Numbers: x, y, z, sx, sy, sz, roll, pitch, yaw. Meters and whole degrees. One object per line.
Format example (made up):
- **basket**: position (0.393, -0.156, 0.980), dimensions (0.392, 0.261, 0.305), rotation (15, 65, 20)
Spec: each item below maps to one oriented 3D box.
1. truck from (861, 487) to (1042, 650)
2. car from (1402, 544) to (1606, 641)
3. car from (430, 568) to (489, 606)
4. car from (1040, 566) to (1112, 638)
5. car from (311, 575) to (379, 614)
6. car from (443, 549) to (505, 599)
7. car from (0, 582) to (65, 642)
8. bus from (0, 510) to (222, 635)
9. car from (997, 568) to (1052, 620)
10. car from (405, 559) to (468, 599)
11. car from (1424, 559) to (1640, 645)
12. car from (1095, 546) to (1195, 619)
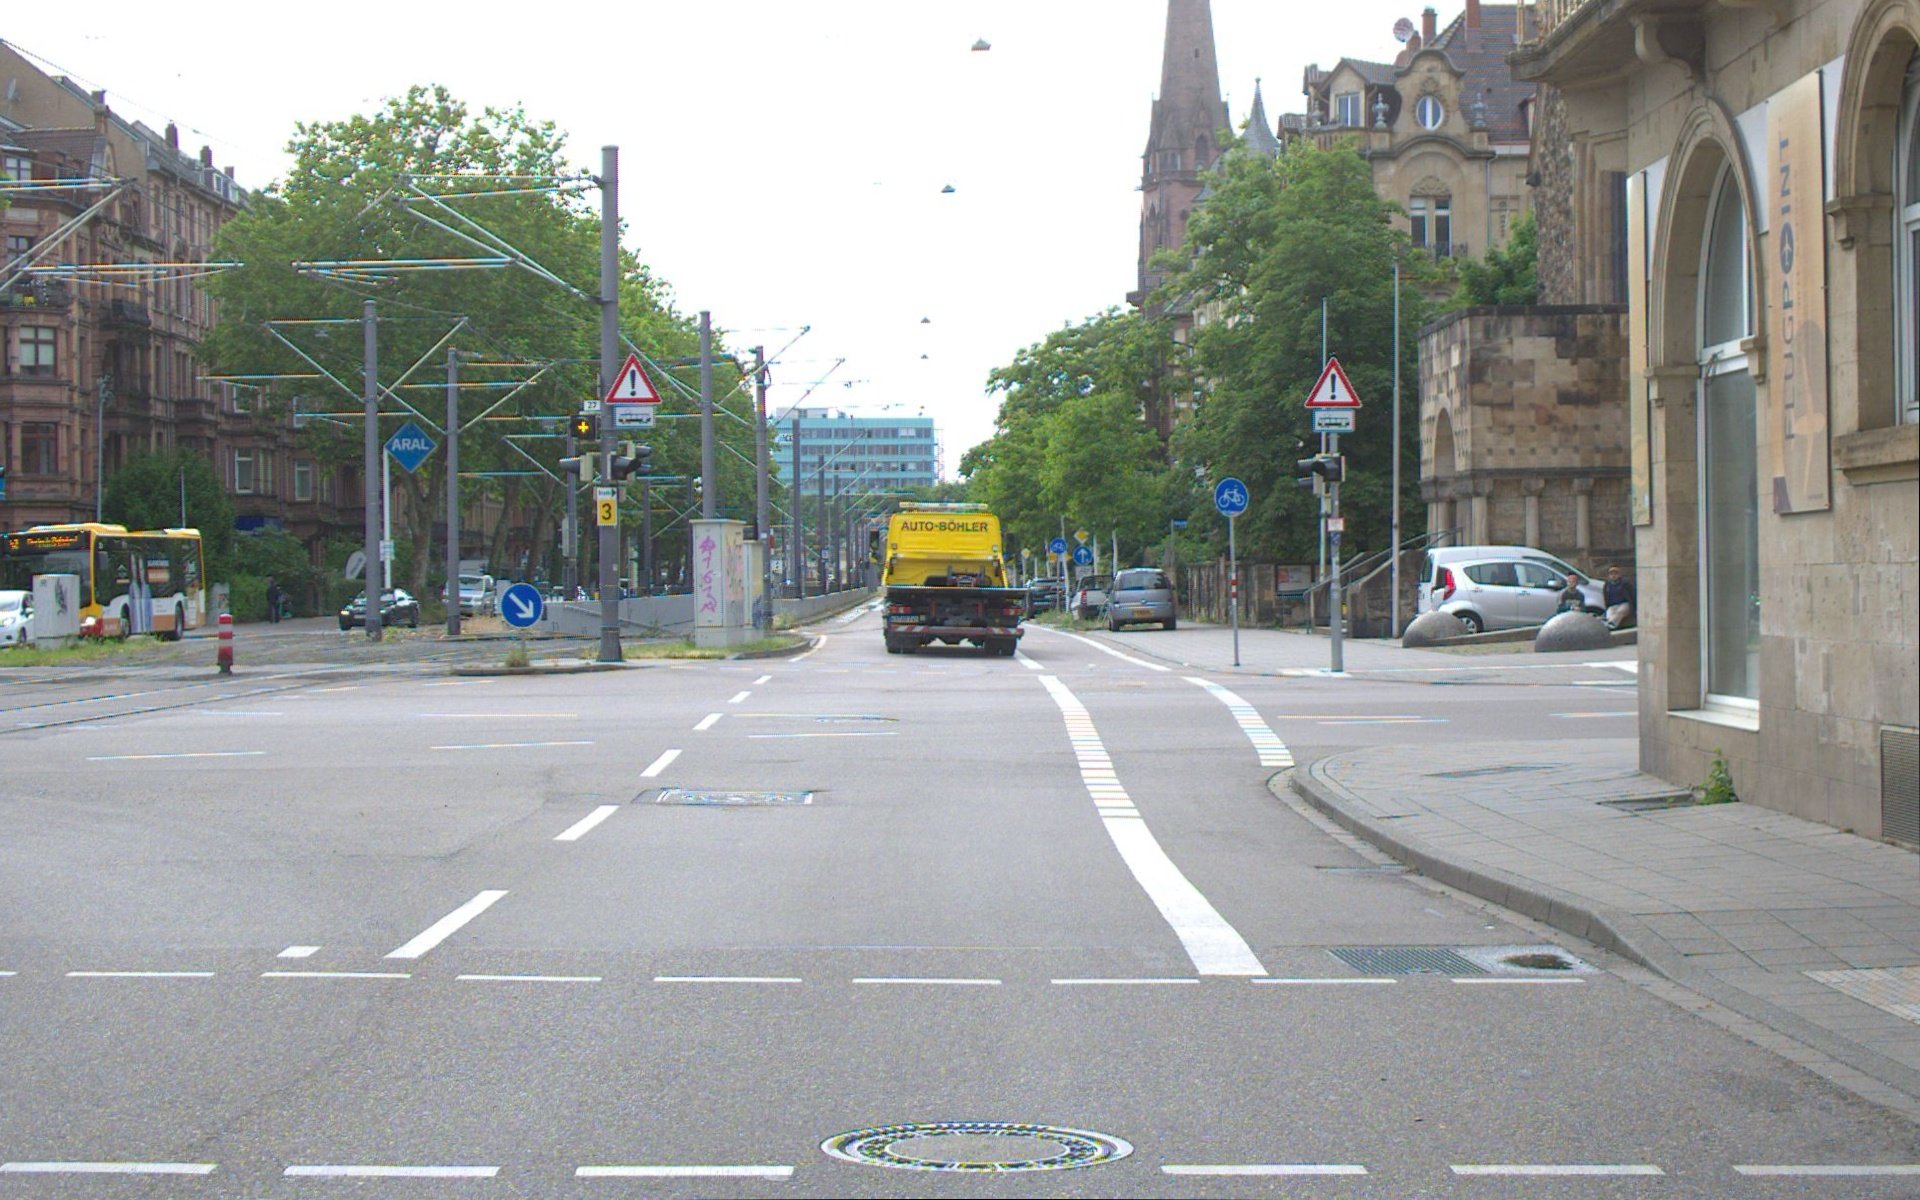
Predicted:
- **truck**: position (-0.281, -0.595, 63.847), dimensions (3.055, 2.760, 9.816), rotation (0, 1, -2)
- **car**: position (10.794, -0.153, 68.404), dimensions (3.713, 1.849, 2.000), rotation (1, 0, 0)
- **car**: position (-21.738, -0.561, 149.351), dimensions (1.993, 1.605, 4.000), rotation (1, 1, -1)
- **car**: position (3.346, 0.042, 99.683), dimensions (1.993, 2.007, 4.000), rotation (1, 1, 1)
- **car**: position (-21.600, -0.212, 120.797), dimensions (1.656, 1.316, 3.638), rotation (1, 1, 1)
- **car**: position (-19.994, -1.090, 141.606), dimensions (1.993, 2.007, 4.000), rotation (1, 1, -1)
- **car**: position (-21.909, 0.264, 79.044), dimensions (1.656, 1.316, 3.638), rotation (1, 1, 1)
- **bus**: position (-22.453, -0.735, 90.235), dimensions (3.231, 3.025, 12.311), rotation (1, 1, 1)
- **car**: position (2.539, -0.262, 136.096), dimensions (1.993, 2.007, 4.000), rotation (1, 1, -1)
- **car**: position (-21.536, -0.866, 141.519), dimensions (1.993, 1.605, 4.000), rotation (1, 1, -1)
- **car**: position (10.766, 0.024, 64.911), dimensions (3.713, 1.558, 2.000), rotation (1, 0, 0)
- **car**: position (4.870, -0.463, 89.983), dimensions (1.994, 1.849, 4.024), rotation (1, 1, 12)
